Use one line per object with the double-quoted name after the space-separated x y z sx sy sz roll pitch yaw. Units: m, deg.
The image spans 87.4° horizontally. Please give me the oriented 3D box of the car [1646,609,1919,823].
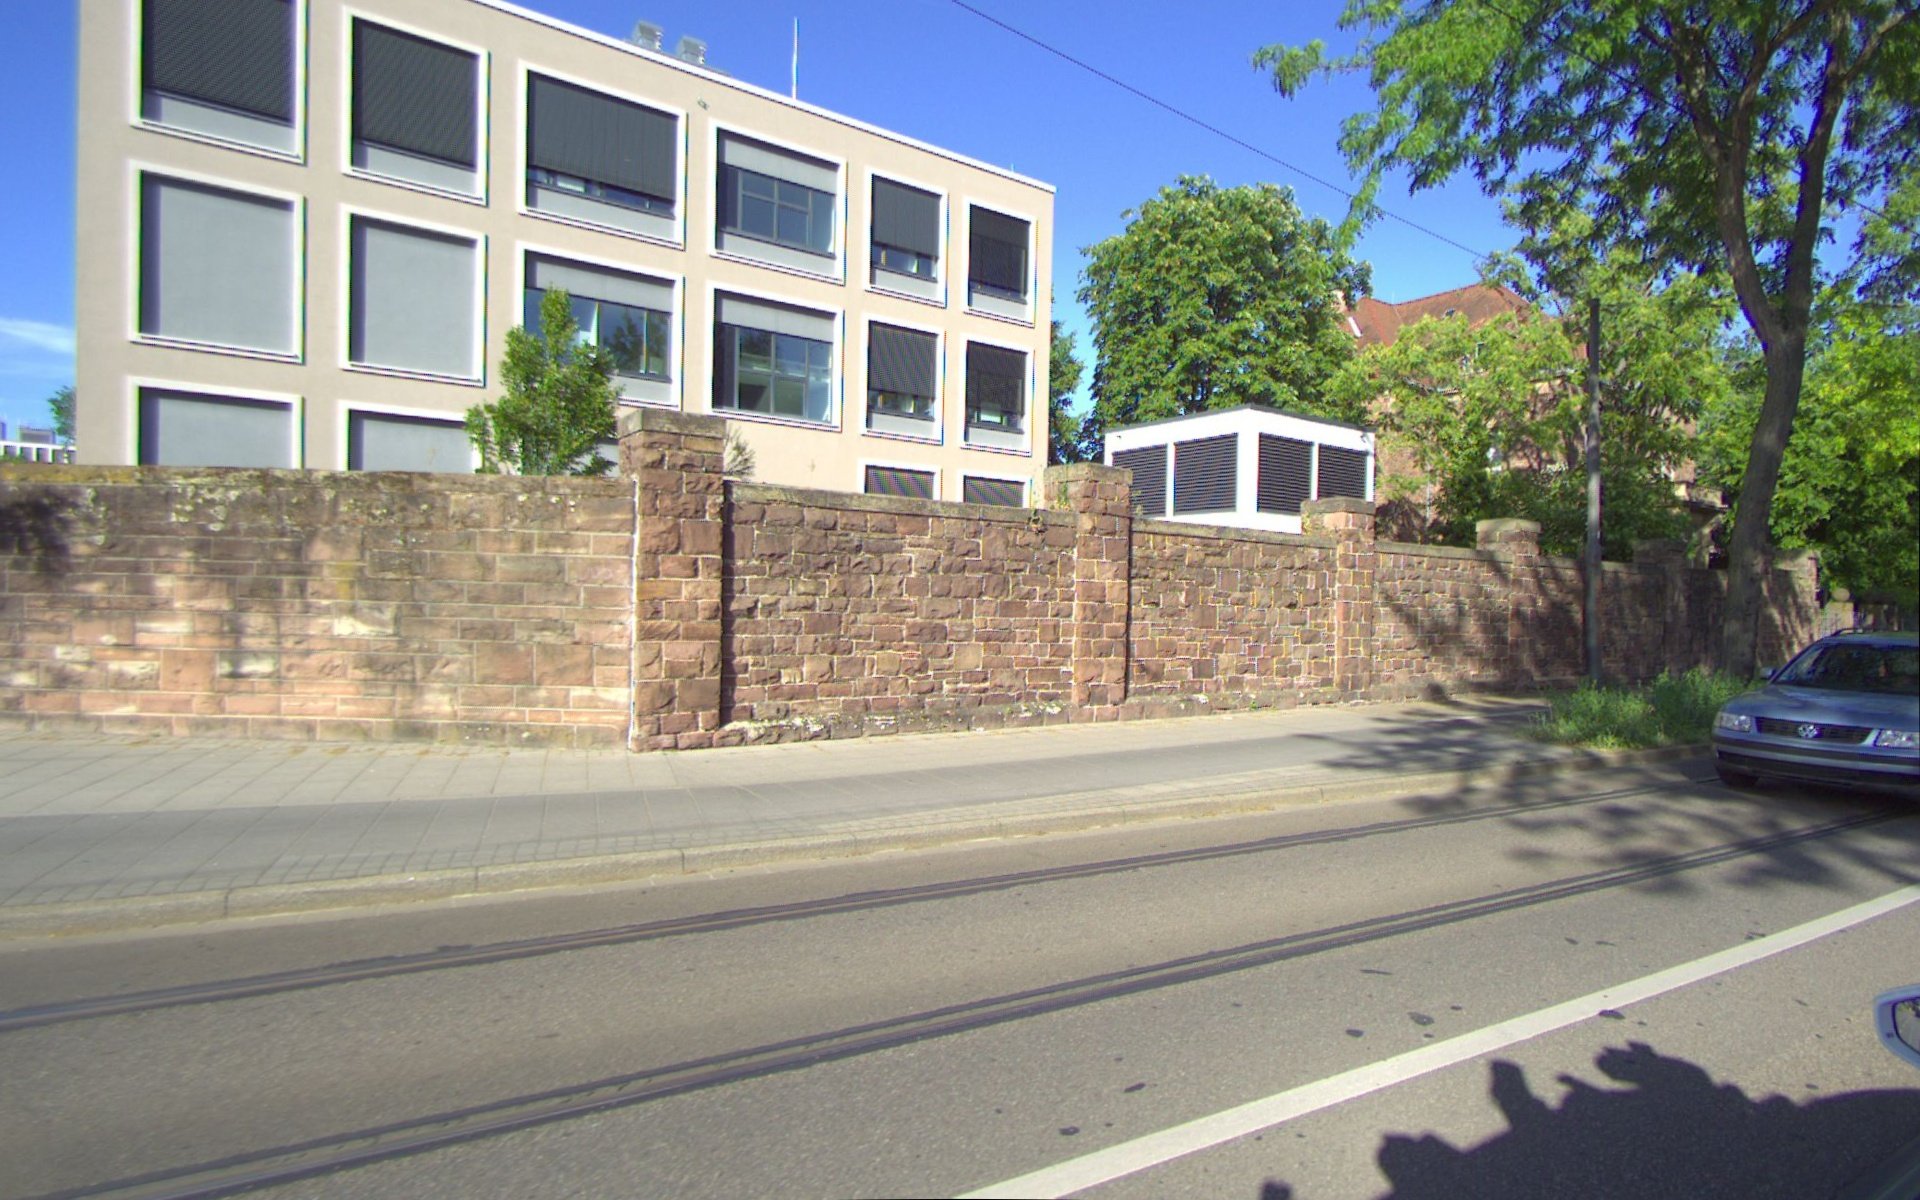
8.638 0.921 9.410 4.528 1.544 1.983 1 0 -32 "car"
